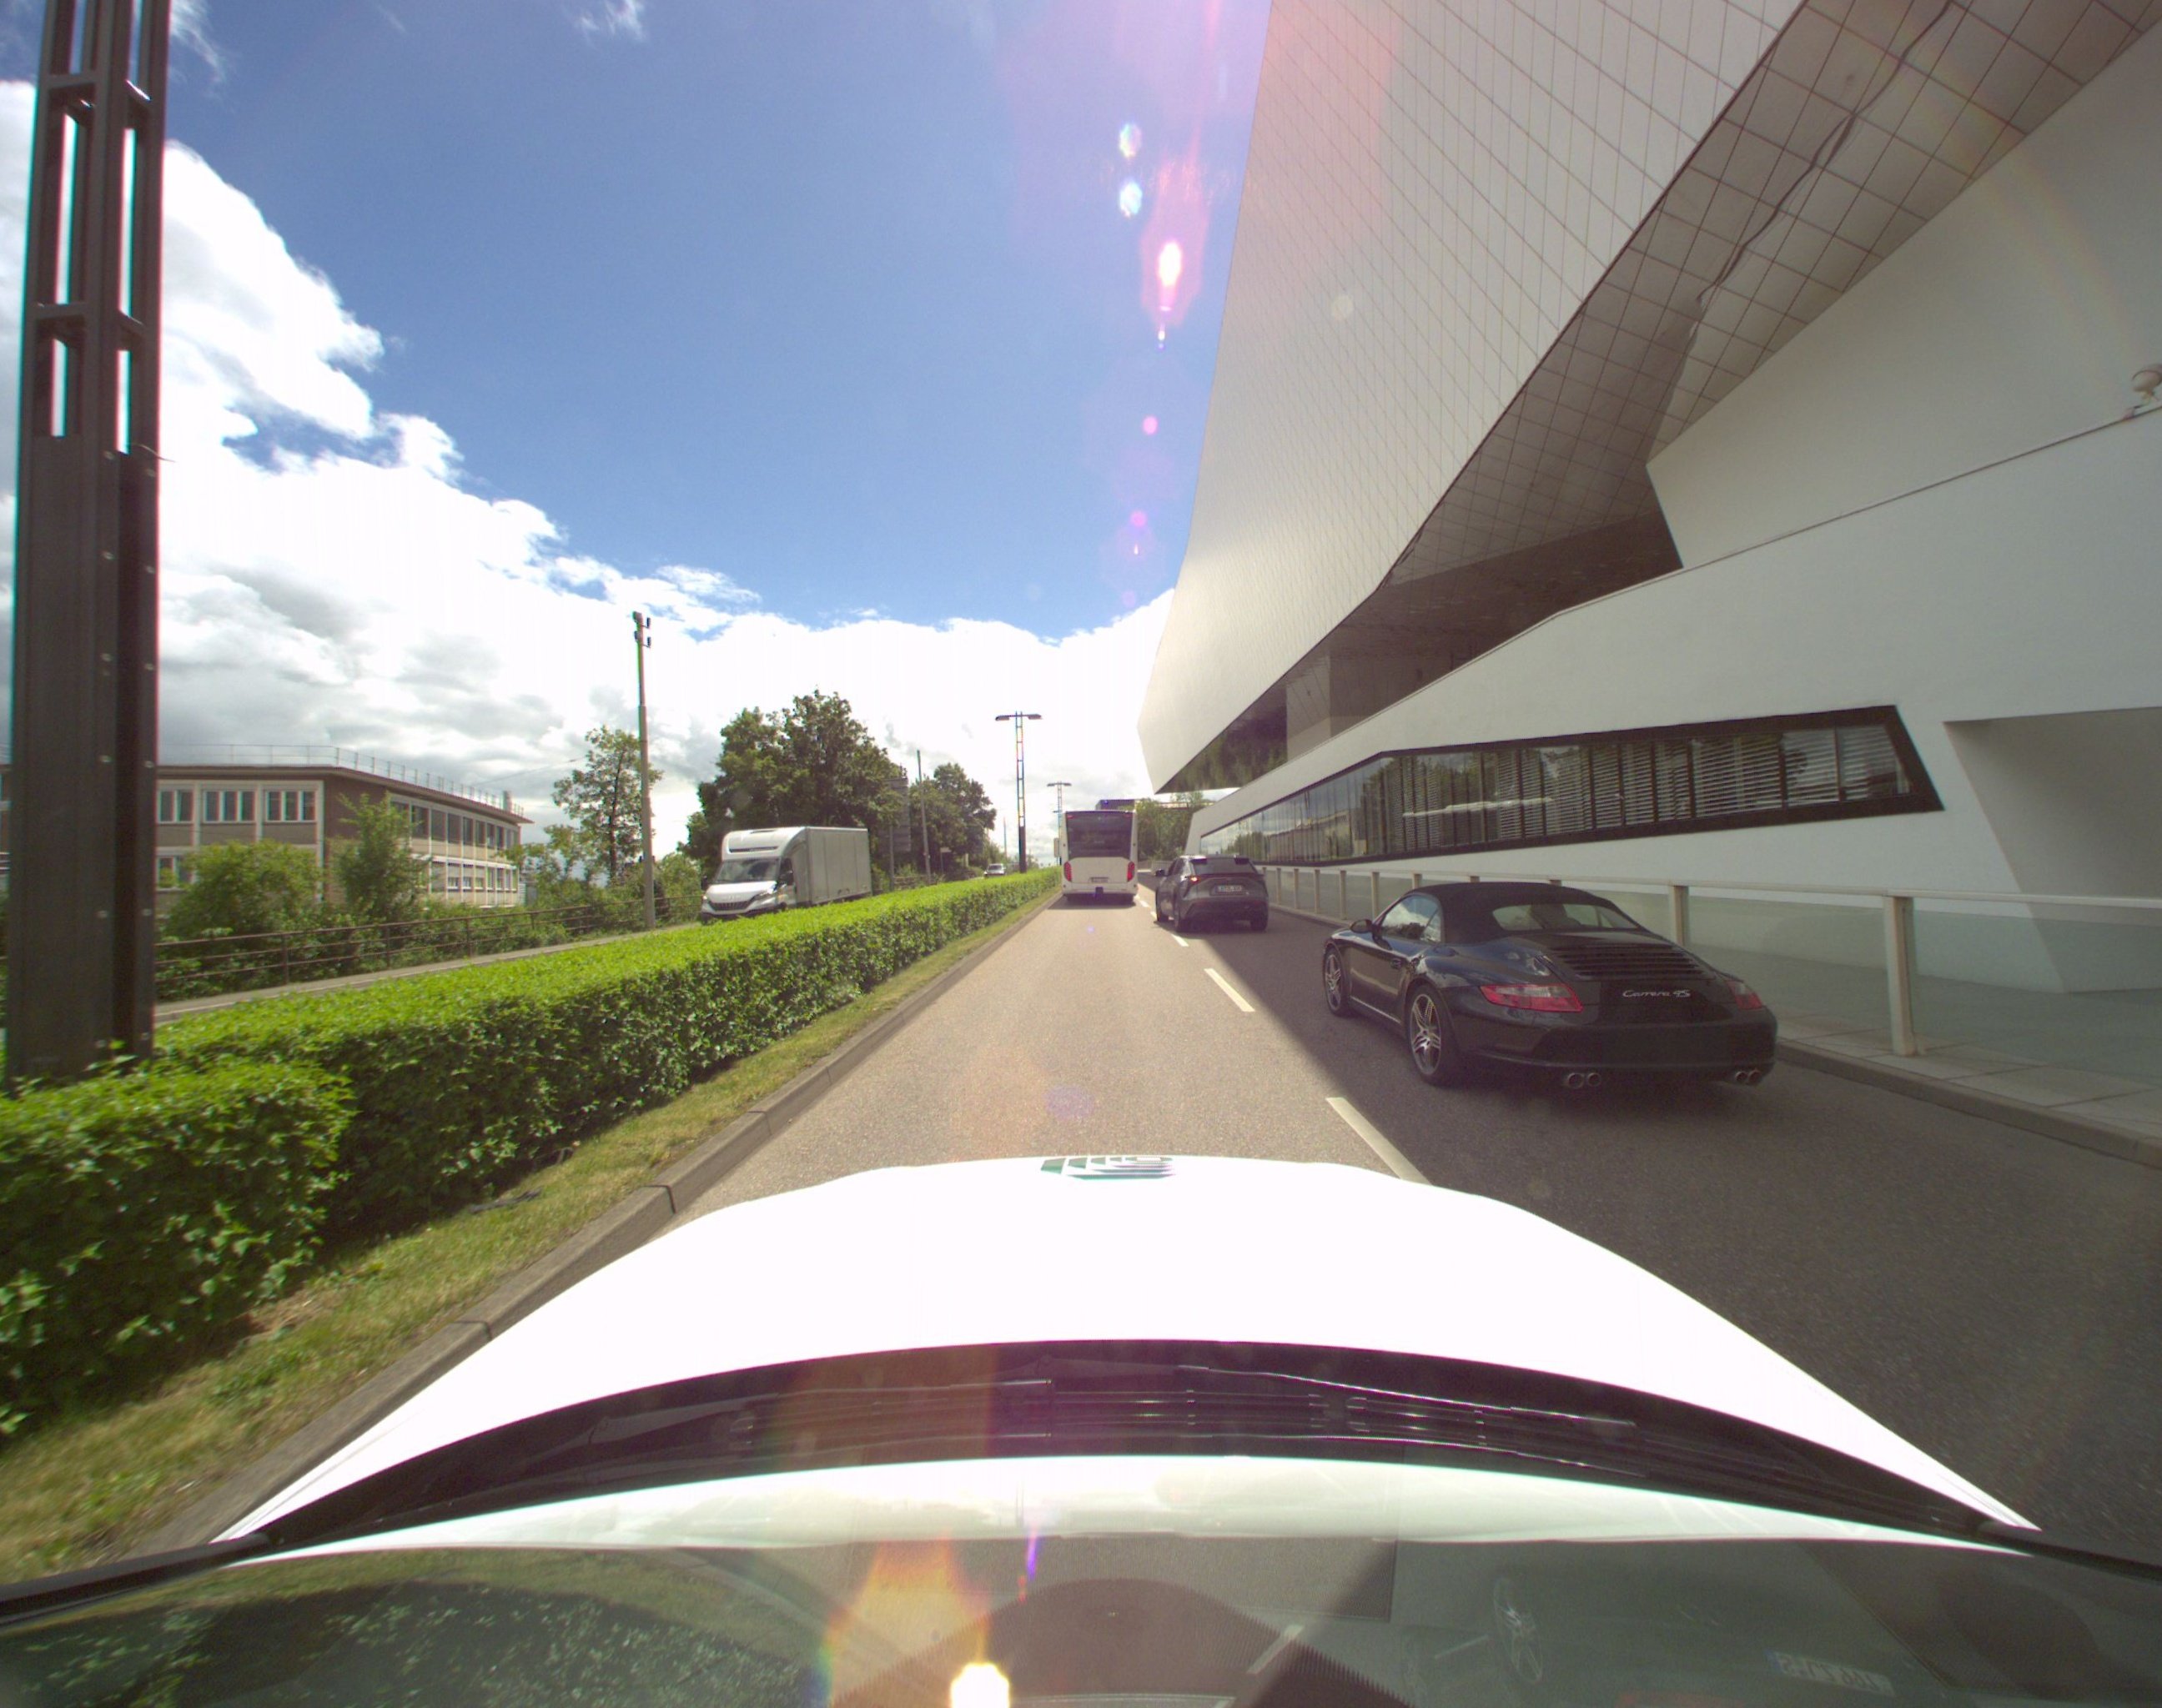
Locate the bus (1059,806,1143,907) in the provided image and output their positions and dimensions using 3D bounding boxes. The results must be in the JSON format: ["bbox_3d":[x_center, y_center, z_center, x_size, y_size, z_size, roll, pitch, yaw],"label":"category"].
[{"bbox_3d":[0.795,0.038,32.459,2.679,3.255,12.060,-1,0,1],"label":"bus"}]

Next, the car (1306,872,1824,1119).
[{"bbox_3d":[3.197,0.813,6.477,1.714,1.275,4.088,-1,-1,1],"label":"car"}]

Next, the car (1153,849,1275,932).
[{"bbox_3d":[2.790,0.747,18.032,1.875,1.594,4.226,-1,-1,-2],"label":"car"}]

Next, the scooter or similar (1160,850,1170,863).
[{"bbox_3d":[8.156,0.244,79.545,0.652,1.214,1.855,-3,-1,-3],"label":"scooter or similar"}]

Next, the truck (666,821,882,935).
[{"bbox_3d":[-9.109,0.518,25.806,2.844,2.857,9.382,-2,1,2],"label":"truck"}]

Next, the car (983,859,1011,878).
[{"bbox_3d":[-7.472,1.277,72.948,1.832,1.507,4.564,-3,0,2],"label":"car"}]
